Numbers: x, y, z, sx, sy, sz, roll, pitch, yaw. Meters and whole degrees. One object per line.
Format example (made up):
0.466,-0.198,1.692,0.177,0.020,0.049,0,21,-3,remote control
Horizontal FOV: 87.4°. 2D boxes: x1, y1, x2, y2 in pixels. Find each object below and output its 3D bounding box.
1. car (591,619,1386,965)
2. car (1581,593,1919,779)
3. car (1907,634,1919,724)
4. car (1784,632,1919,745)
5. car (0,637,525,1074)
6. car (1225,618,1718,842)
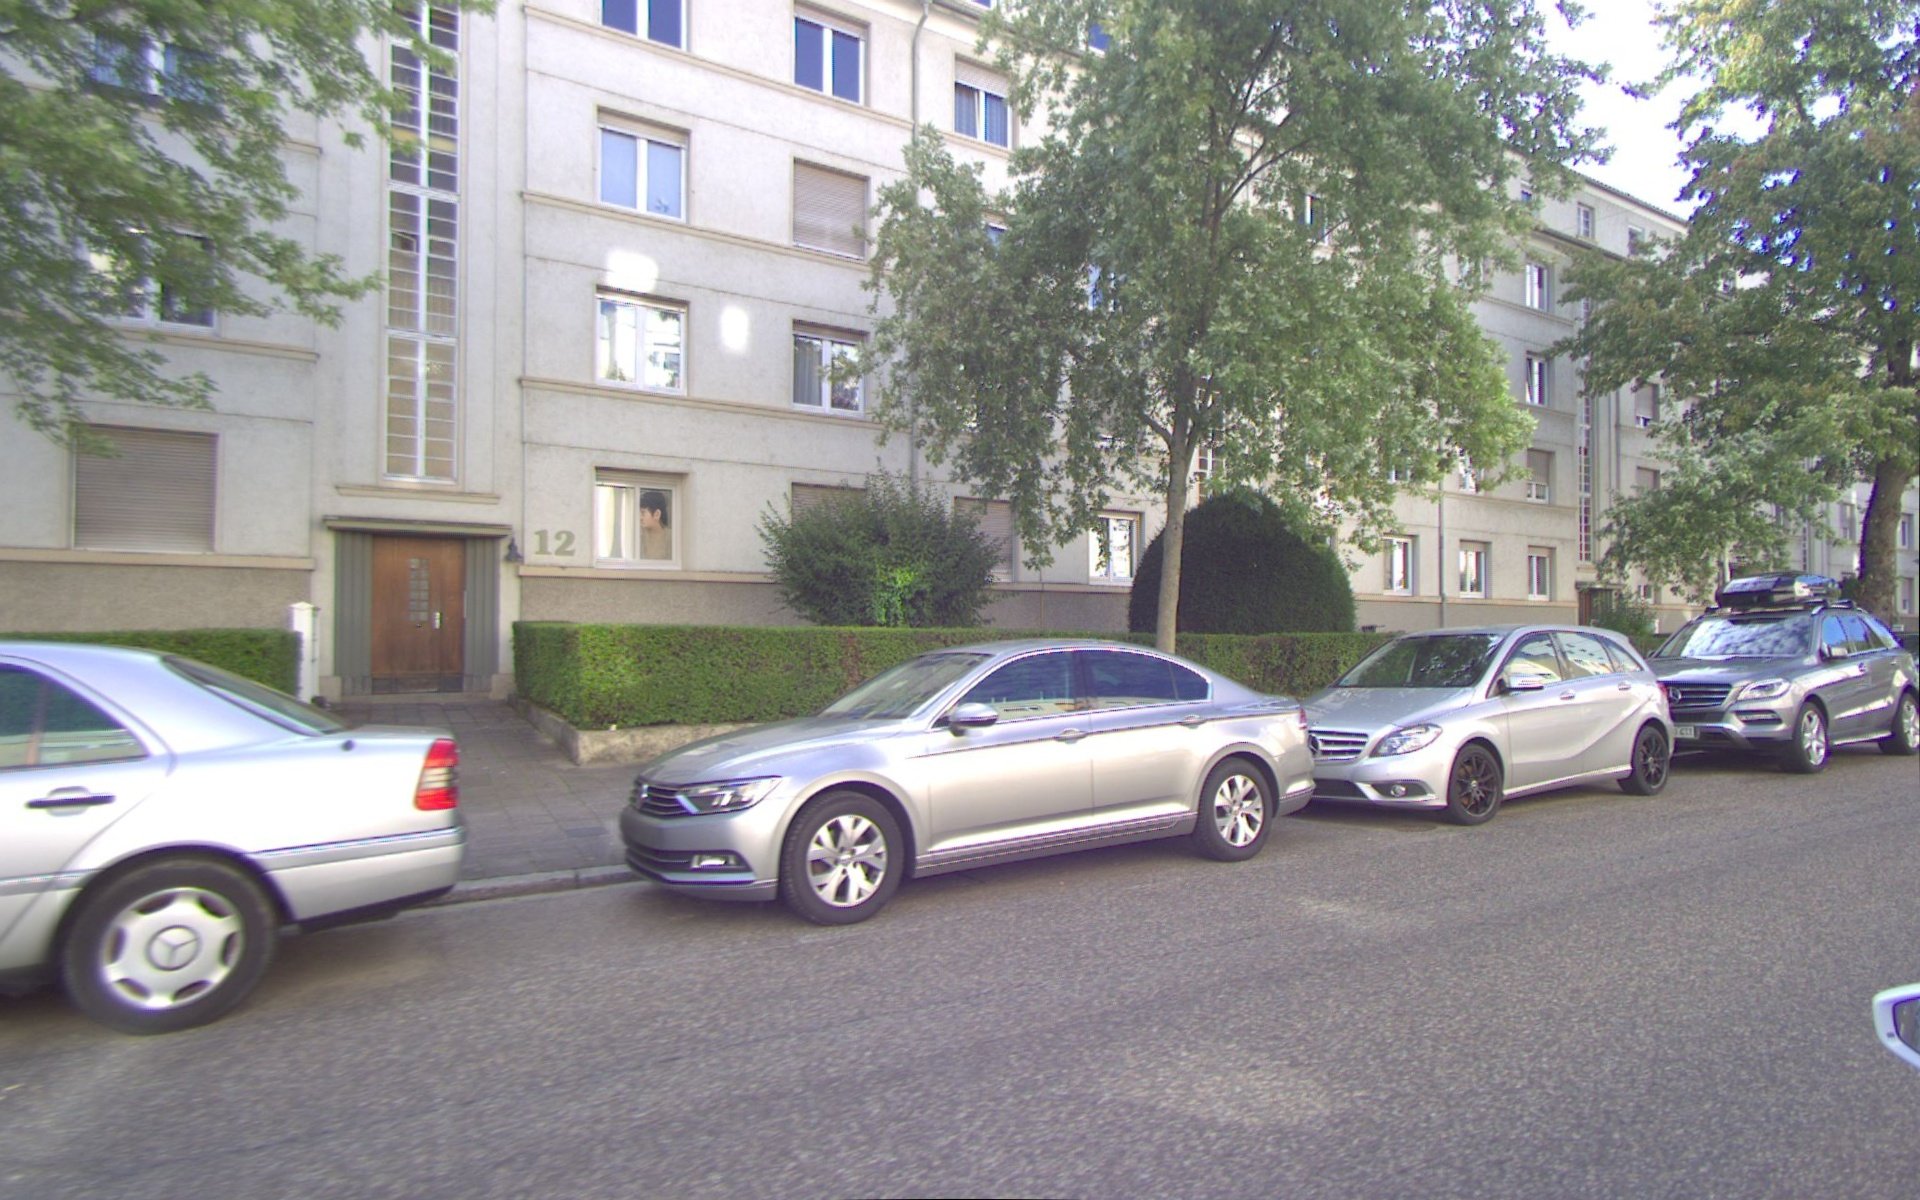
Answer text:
0.346,0.945,6.470,4.887,1.505,1.847,1,-5,-31,car
9.703,0.940,11.978,4.915,1.816,1.868,1,-4,-32,car
18.340,1.274,17.197,4.395,1.499,1.680,1,-5,-28,car
14.203,1.258,14.839,4.068,1.499,1.679,1,-5,-29,car
-4.195,0.894,3.668,4.613,1.411,1.730,1,-5,-32,car
4.691,1.006,9.085,4.406,1.593,1.847,1,-4,-30,car
